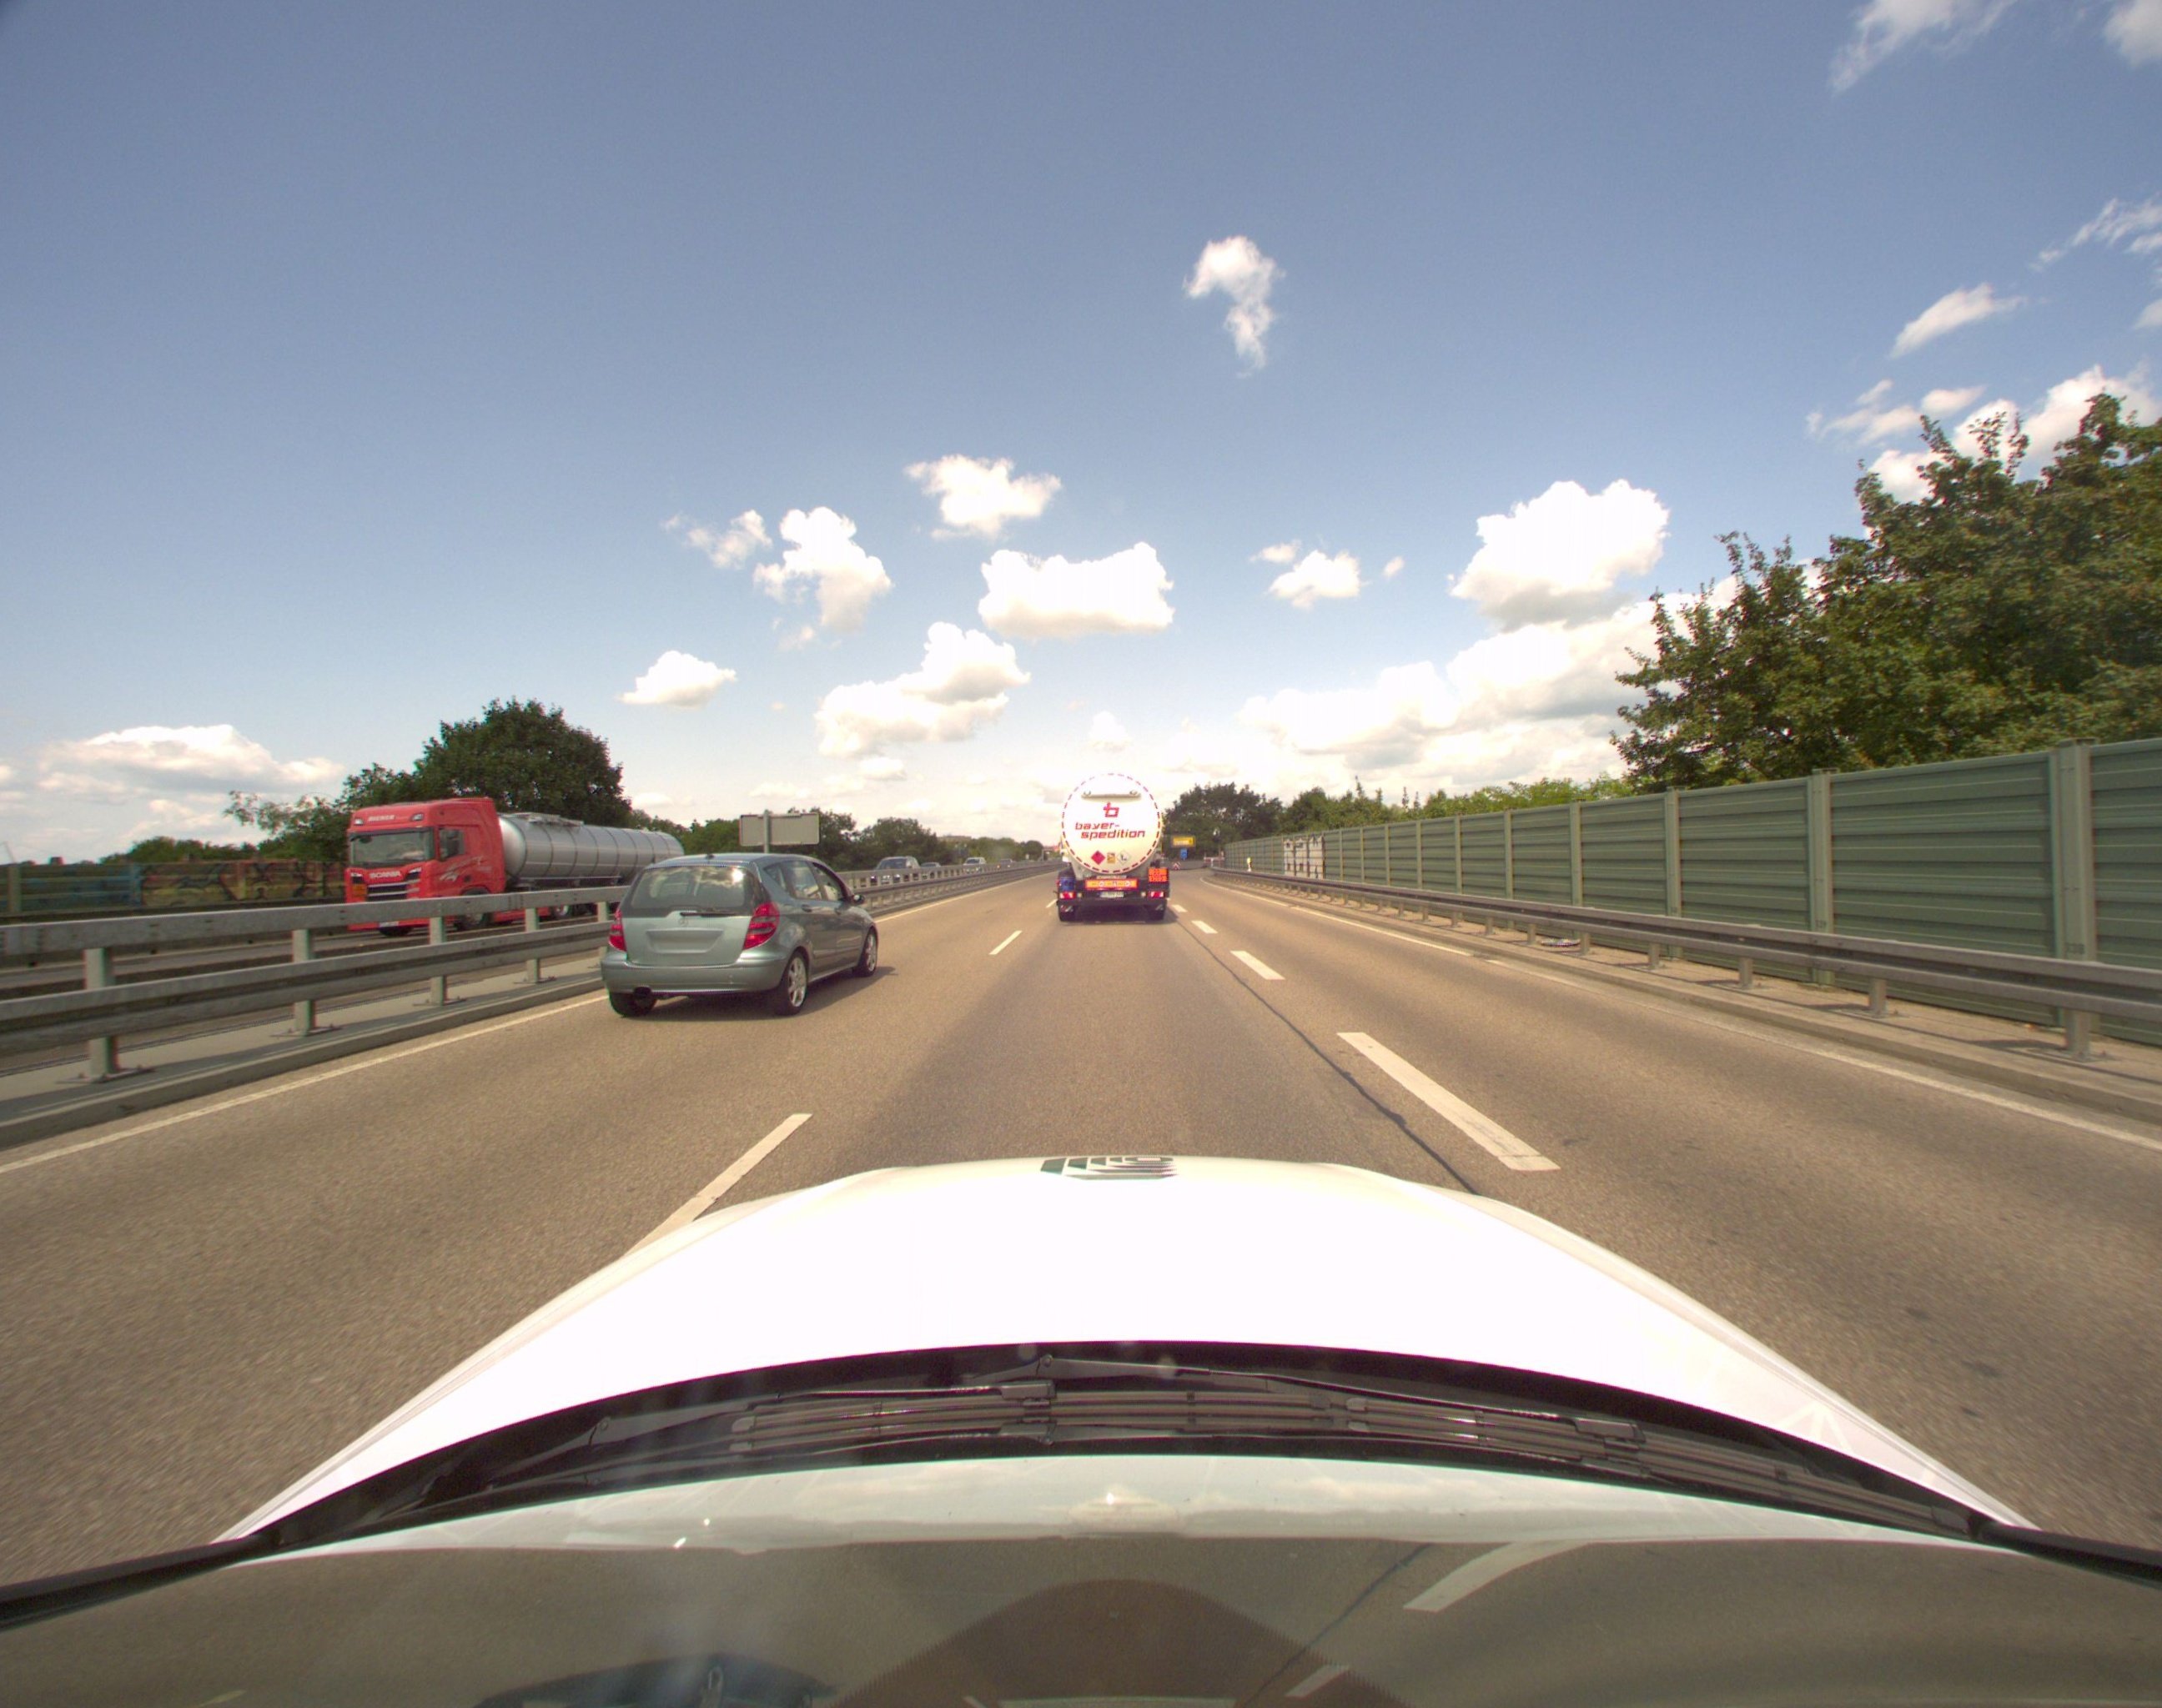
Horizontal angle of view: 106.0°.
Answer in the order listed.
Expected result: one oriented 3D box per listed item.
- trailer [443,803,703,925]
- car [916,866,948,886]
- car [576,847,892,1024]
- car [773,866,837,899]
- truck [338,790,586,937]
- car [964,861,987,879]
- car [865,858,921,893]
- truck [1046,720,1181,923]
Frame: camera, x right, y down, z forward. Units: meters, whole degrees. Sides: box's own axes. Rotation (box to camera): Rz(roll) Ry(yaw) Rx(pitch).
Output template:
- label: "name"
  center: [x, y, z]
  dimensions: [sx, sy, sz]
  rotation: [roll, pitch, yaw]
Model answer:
- label: "trailer"
  center: [-17.964, 0.347, 30.209]
  dimensions: [2.676, 3.670, 11.027]
  rotation: [-1, 0, 0]
- label: "car"
  center: [-13.001, 1.877, 71.398]
  dimensions: [1.917, 1.574, 4.245]
  rotation: [-3, 0, 1]
- label: "car"
  center: [-3.564, 0.723, 9.261]
  dimensions: [1.741, 1.531, 4.001]
  rotation: [-2, 0, 2]
- label: "car"
  center: [-13.752, 1.398, 40.804]
  dimensions: [1.776, 1.509, 3.961]
  rotation: [-1, 0, 1]
- label: "truck"
  center: [-17.982, 0.256, 24.278]
  dimensions: [2.640, 3.782, 6.231]
  rotation: [-1, 0, 0]
- label: "car"
  center: [-11.740, 1.766, 91.011]
  dimensions: [1.954, 1.925, 5.190]
  rotation: [0, 1, -1]
- label: "car"
  center: [-9.838, 1.086, 42.928]
  dimensions: [1.988, 1.750, 4.593]
  rotation: [-1, 0, -2]
- label: "truck"
  center: [0.809, -0.682, 21.673]
  dimensions: [2.885, 4.369, 8.031]
  rotation: [-1, 0, 1]
